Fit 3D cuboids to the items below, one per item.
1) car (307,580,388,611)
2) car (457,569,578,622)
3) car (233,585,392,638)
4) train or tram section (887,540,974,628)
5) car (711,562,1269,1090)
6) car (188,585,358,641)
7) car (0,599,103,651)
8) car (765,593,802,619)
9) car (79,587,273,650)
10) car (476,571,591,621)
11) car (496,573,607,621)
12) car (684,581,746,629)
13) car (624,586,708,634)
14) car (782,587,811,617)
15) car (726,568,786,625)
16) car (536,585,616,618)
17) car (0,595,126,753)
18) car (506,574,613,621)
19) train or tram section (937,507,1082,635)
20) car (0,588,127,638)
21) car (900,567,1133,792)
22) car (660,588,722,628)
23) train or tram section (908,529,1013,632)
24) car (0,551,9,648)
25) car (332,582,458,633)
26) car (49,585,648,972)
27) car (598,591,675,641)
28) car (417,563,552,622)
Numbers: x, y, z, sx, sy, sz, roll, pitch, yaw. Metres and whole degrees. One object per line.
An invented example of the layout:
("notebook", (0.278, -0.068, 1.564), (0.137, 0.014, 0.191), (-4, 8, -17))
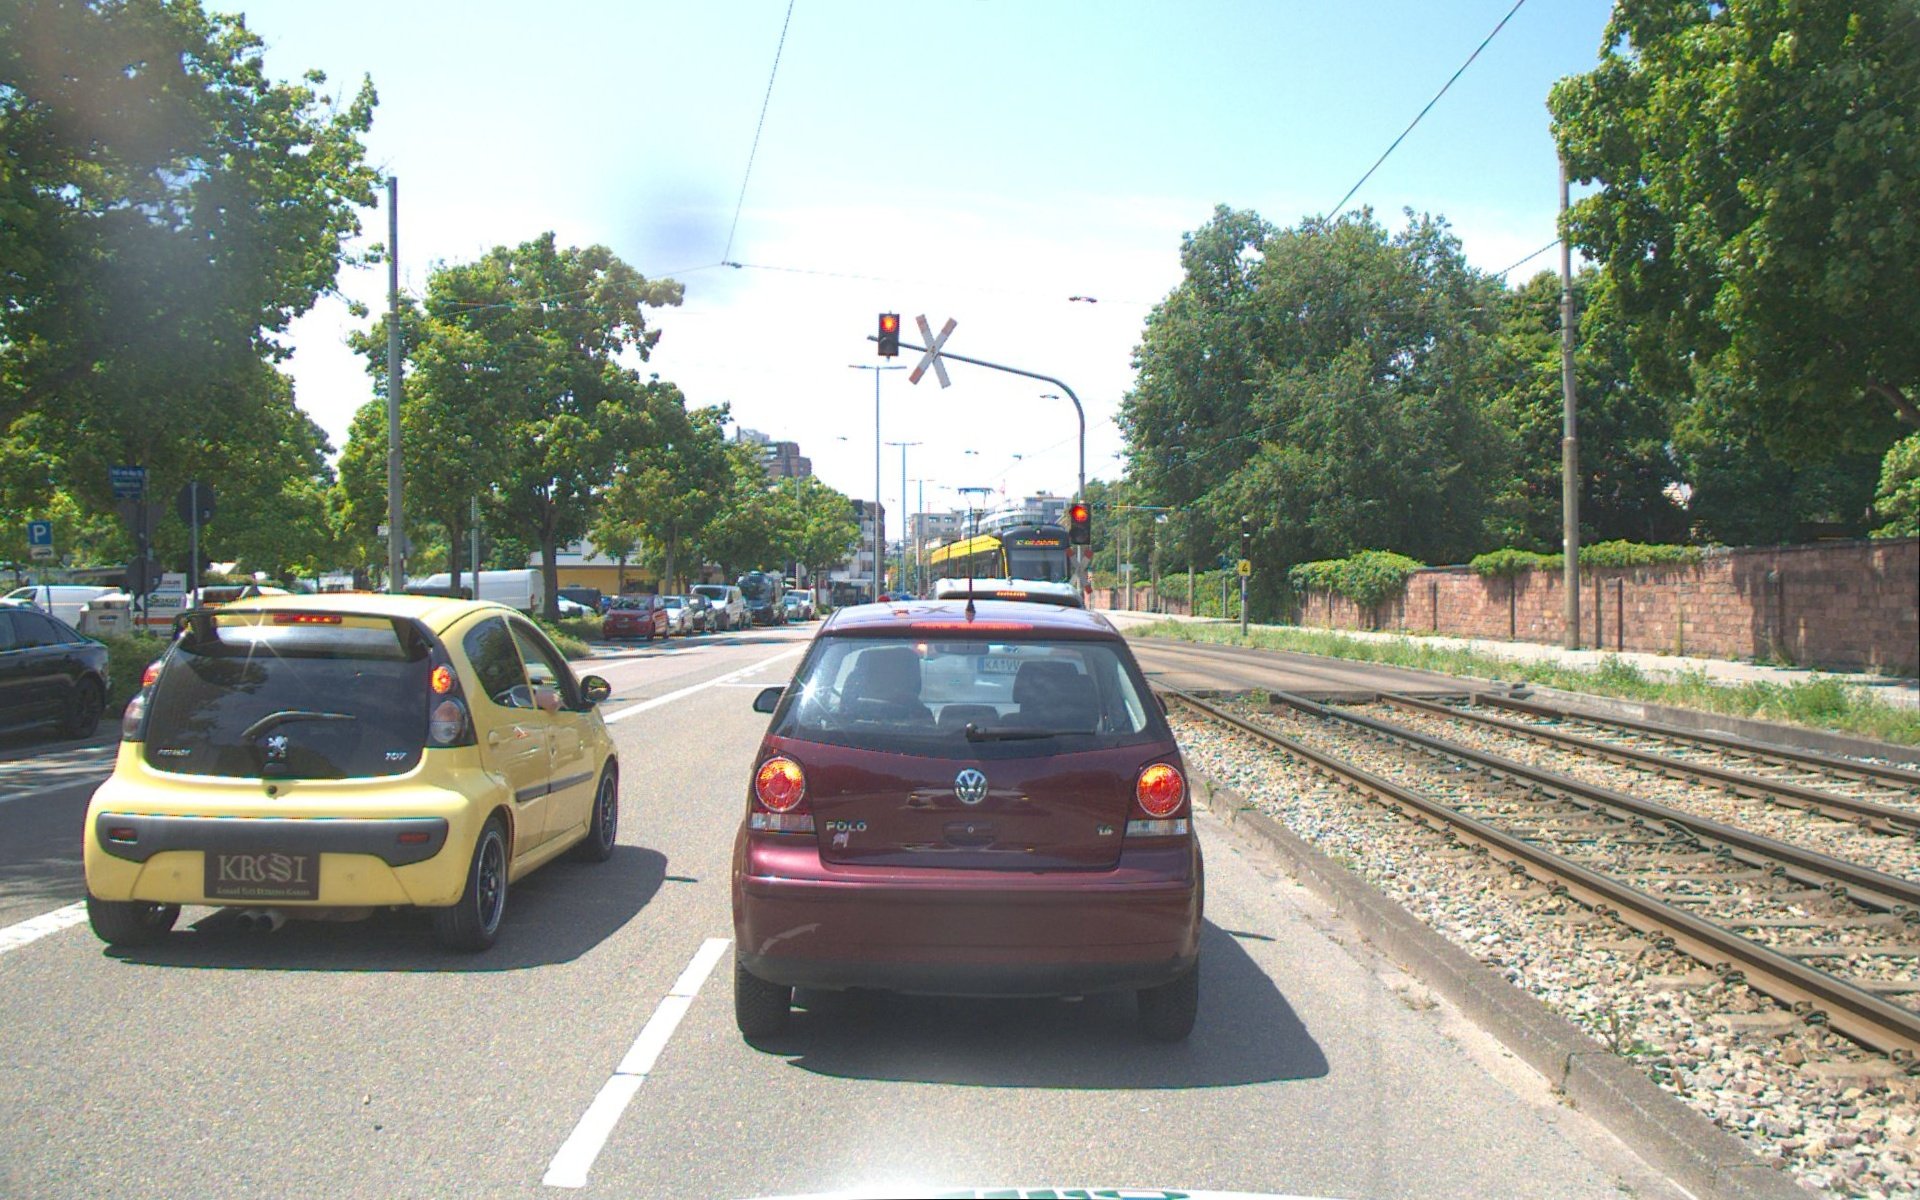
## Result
("car", (-35.341, -0.238, 95.429), (3.939, 1.645, 1.816), (2, -1, -2))
("car", (-21.030, -0.193, 78.746), (4.993, 2.283, 2.378), (2, -1, 0))
("car", (-20.381, 0.364, 52.142), (4.251, 1.612, 1.914), (0, 0, 5))
("train or tram section", (-1.497, -0.746, 76.572), (2.689, 3.672, 10.932), (2, 0, -7))
("car", (0.044, 0.667, 6.962), (1.638, 1.548, 3.999), (2, 0, -2))
("car", (-20.460, 0.384, 49.345), (4.251, 1.612, 1.914), (0, 0, 5))
("car", (-32.482, 0.855, 57.940), (3.913, 1.682, 1.812), (2, -1, -9))
("car", (-10.733, 0.372, 100.539), (1.581, 1.466, 4.001), (2, -1, 3))
("car", (-20.943, 0.482, 44.324), (4.256, 1.612, 1.912), (-1, 0, -3))
("car", (-21.085, -0.168, 81.933), (4.993, 2.283, 2.378), (2, -1, 0))
("car", (-20.816, -0.137, 84.408), (4.993, 2.283, 2.378), (2, -1, 0))
("car", (-10.463, 0.228, 71.014), (1.746, 1.914, 4.787), (2, -1, 2))
("car", (-10.749, 0.372, 60.770), (1.934, 1.629, 4.560), (2, -1, 4))
("car", (-10.607, 0.117, 107.337), (1.741, 1.860, 3.995), (2, -1, -6))
("car", (-10.320, -0.150, 84.061), (2.313, 2.739, 5.307), (2, -1, 0))
("car", (-21.208, 0.087, 91.404), (3.938, 1.645, 1.816), (2, -1, 0))
("car", (-10.310, 0.726, 16.476), (1.782, 1.502, 4.448), (2, 0, -1))
("car", (-21.027, -0.122, 87.003), (4.993, 2.283, 2.378), (2, -1, 0))
("train or tram section", (1.372, -0.920, 54.782), (2.689, 3.672, 12.849), (2, 0, -7))
("car", (-32.820, 0.465, 60.353), (3.913, 1.682, 1.812), (2, -1, -9))
("car", (0.381, 0.595, 14.631), (1.741, 1.676, 3.999), (2, 0, -2))
("car", (-10.638, 0.338, 65.546), (1.581, 1.466, 4.001), (2, -1, 3))
("train or tram section", (-0.136, -0.773, 66.164), (2.689, 3.672, 10.932), (2, 0, -7))
("car", (-33.115, -0.125, 50.382), (6.714, 3.017, 2.363), (2, -1, -2))
("car", (-20.523, 0.250, 60.173), (3.906, 1.776, 1.998), (-1, 0, -2))
("car", (-2.653, 0.672, 8.057), (1.656, 1.435, 3.514), (2, 0, -2))
("car", (-10.554, 0.532, 54.223), (1.628, 1.523, 4.000), (2, -1, 1))
("car", (-20.263, -0.299, 70.646), (4.993, 2.283, 2.378), (2, -1, 0))
